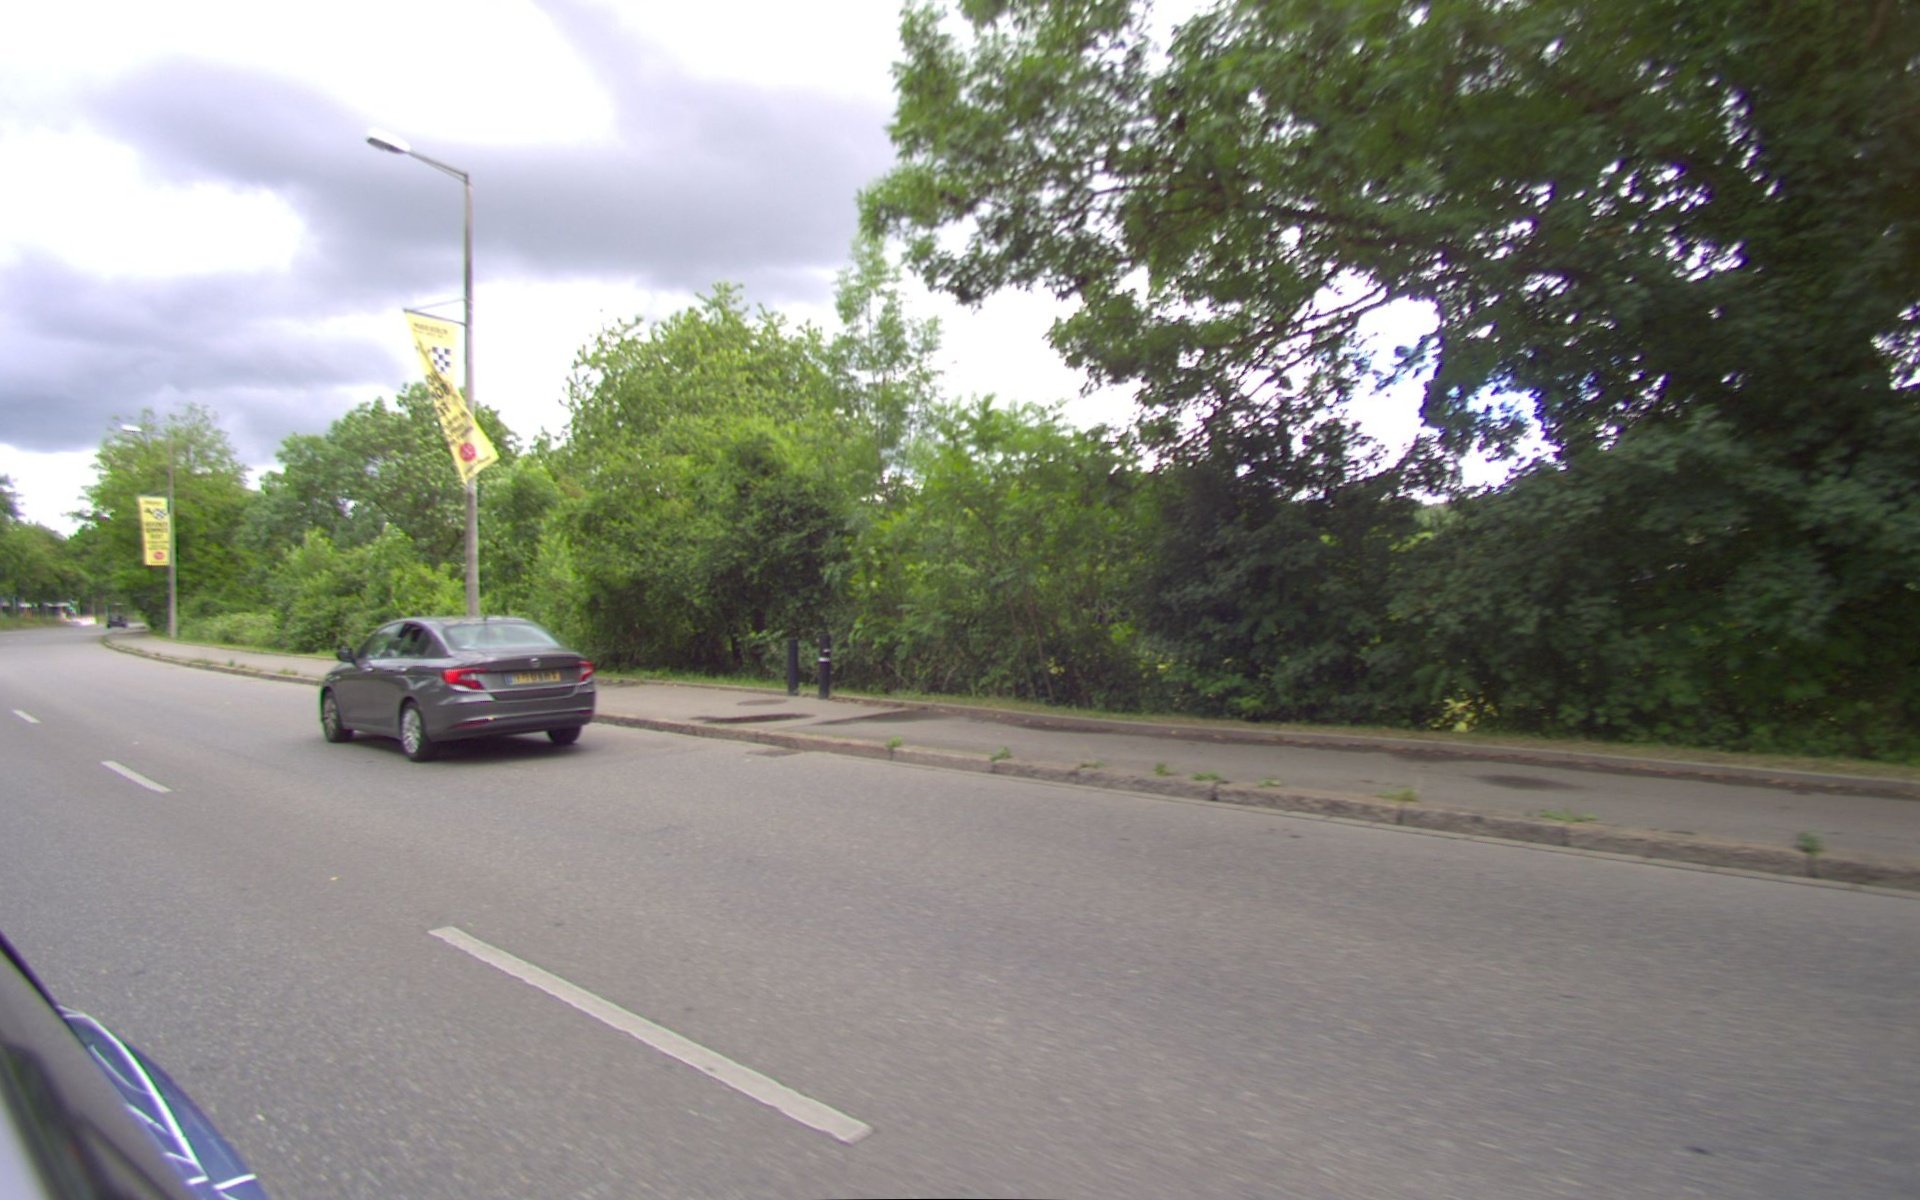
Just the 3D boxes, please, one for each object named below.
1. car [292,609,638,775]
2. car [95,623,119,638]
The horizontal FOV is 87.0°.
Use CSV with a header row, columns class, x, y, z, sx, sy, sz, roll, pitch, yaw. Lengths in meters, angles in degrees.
class,x,y,z,sx,sy,sz,roll,pitch,yaw
car,-5.757,0.879,11.553,4.276,1.516,1.974,-1,0,40
car,-95.523,3.410,113.344,1.771,1.420,4.009,-3,1,-37
